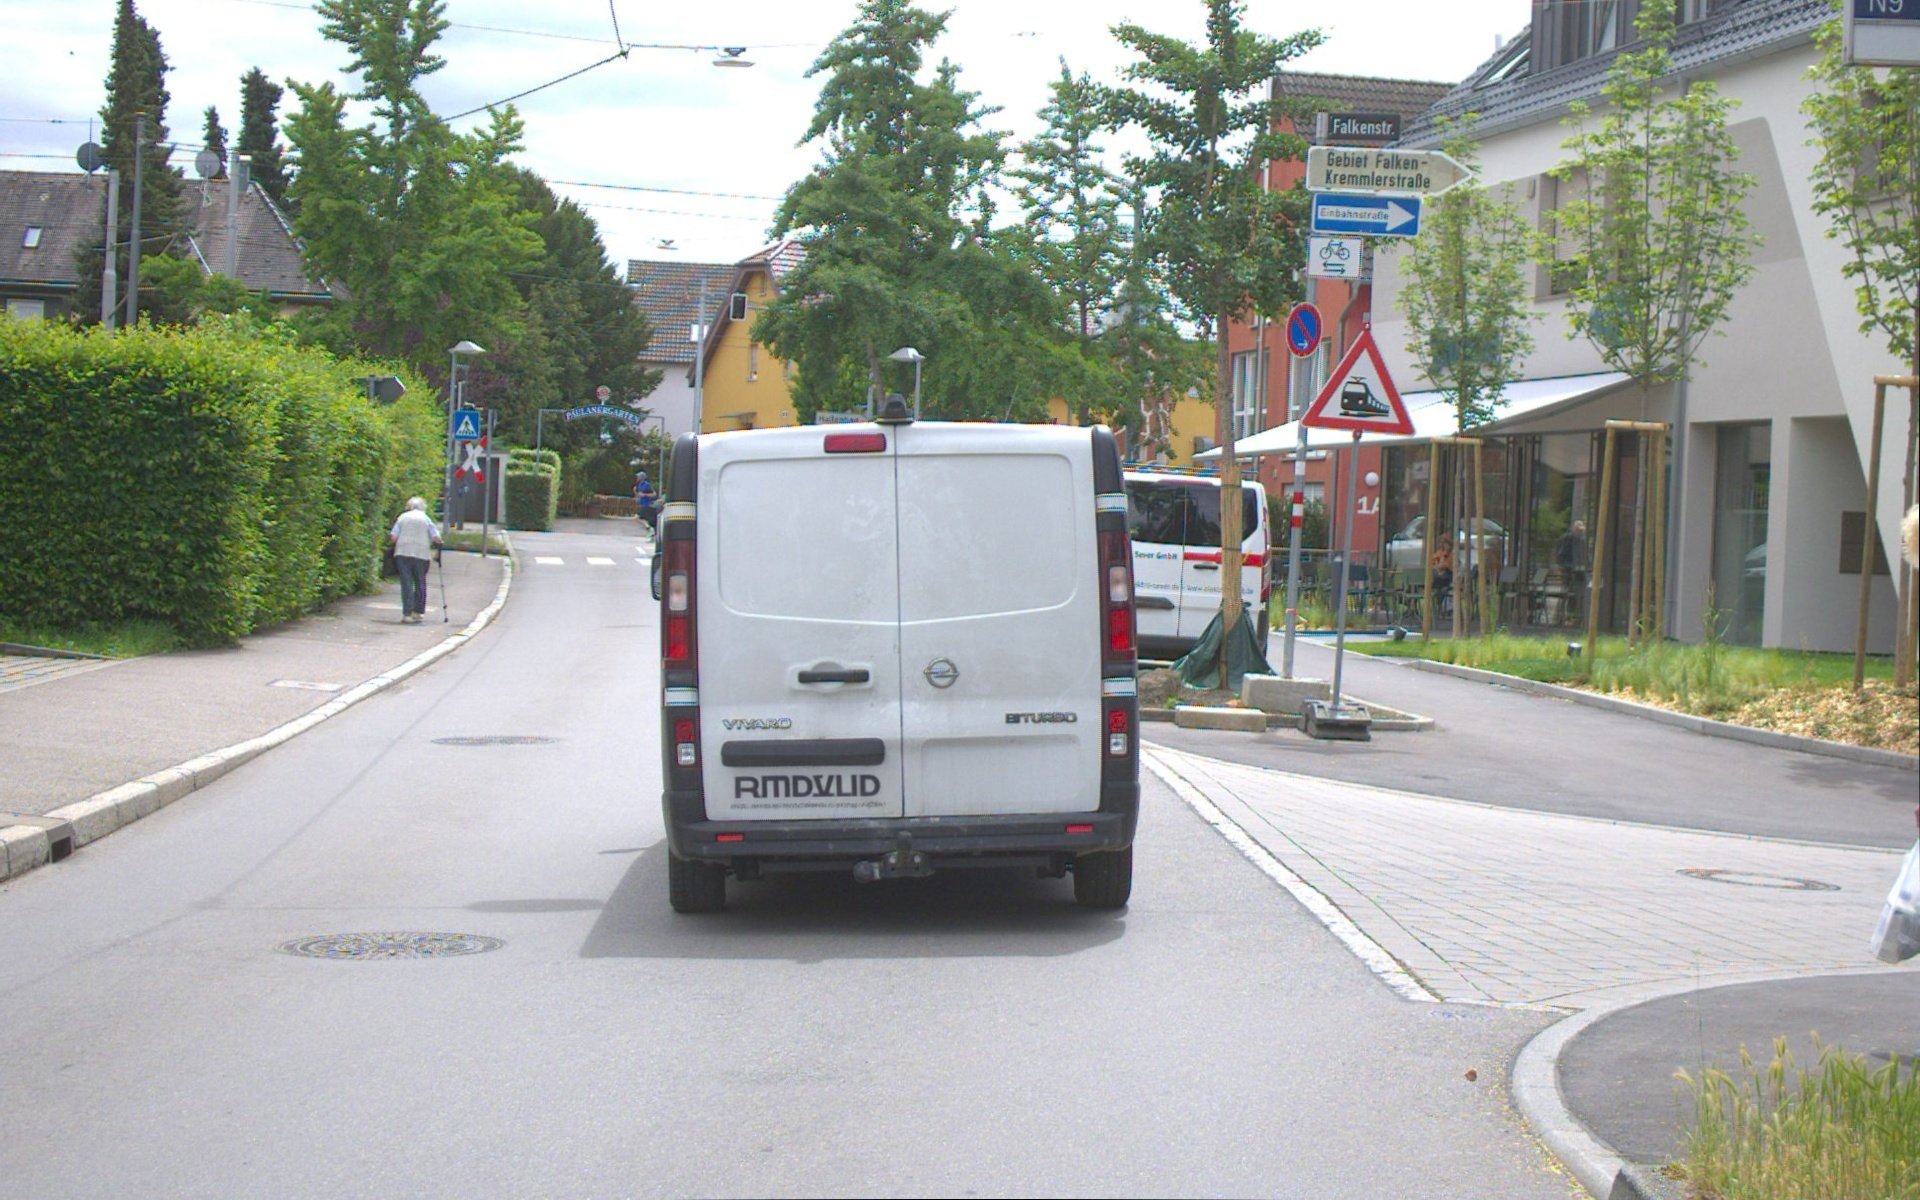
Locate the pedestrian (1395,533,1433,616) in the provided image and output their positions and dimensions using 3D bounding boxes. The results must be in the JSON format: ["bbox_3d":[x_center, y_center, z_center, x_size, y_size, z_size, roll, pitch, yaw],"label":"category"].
[{"bbox_3d":[6.529,-0.366,49.463,0.421,1.178,0.324,2,1,-7],"label":"pedestrian"}]

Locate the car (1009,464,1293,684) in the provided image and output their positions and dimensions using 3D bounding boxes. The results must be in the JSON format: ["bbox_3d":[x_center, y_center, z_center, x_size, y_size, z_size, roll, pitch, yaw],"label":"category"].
[{"bbox_3d":[1.817,-0.290,34.488,1.958,1.909,4.903,4,1,-6],"label":"car"}]

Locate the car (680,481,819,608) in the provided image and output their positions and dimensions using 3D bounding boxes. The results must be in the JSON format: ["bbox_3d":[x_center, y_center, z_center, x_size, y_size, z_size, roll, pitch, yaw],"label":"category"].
[{"bbox_3d":[-3.303,-0.861,53.250,1.993,1.842,4.001,1,1,-5],"label":"car"}]

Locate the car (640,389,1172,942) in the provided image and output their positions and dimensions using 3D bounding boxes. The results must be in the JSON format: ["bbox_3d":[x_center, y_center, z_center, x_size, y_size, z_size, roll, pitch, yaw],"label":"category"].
[{"bbox_3d":[-0.379,0.226,14.936,1.915,1.996,4.438,2,0,-5],"label":"car"}]

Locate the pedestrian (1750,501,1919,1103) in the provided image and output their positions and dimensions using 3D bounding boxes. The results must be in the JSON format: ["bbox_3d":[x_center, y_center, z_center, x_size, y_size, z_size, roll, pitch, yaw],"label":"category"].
[{"bbox_3d":[2.868,0.575,9.888,0.881,1.639,0.857,4,1,1],"label":"pedestrian"}]

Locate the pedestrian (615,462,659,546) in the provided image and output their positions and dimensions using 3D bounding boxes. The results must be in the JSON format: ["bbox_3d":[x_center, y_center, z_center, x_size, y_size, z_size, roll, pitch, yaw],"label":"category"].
[{"bbox_3d":[-8.024,-2.387,85.409,0.832,2.007,0.680,4,1,-15],"label":"pedestrian"}]

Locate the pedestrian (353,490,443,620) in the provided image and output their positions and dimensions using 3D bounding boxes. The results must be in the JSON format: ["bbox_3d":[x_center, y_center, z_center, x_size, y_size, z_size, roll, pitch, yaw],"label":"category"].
[{"bbox_3d":[-6.715,-0.540,41.068,0.876,1.480,0.455,4,1,-24],"label":"pedestrian"}]

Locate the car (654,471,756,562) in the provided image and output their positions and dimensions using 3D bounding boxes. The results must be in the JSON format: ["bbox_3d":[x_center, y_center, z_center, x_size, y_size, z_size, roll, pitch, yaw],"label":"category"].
[{"bbox_3d":[-5.264,-1.714,70.652,1.993,1.776,4.001,1,1,-5],"label":"car"}]
